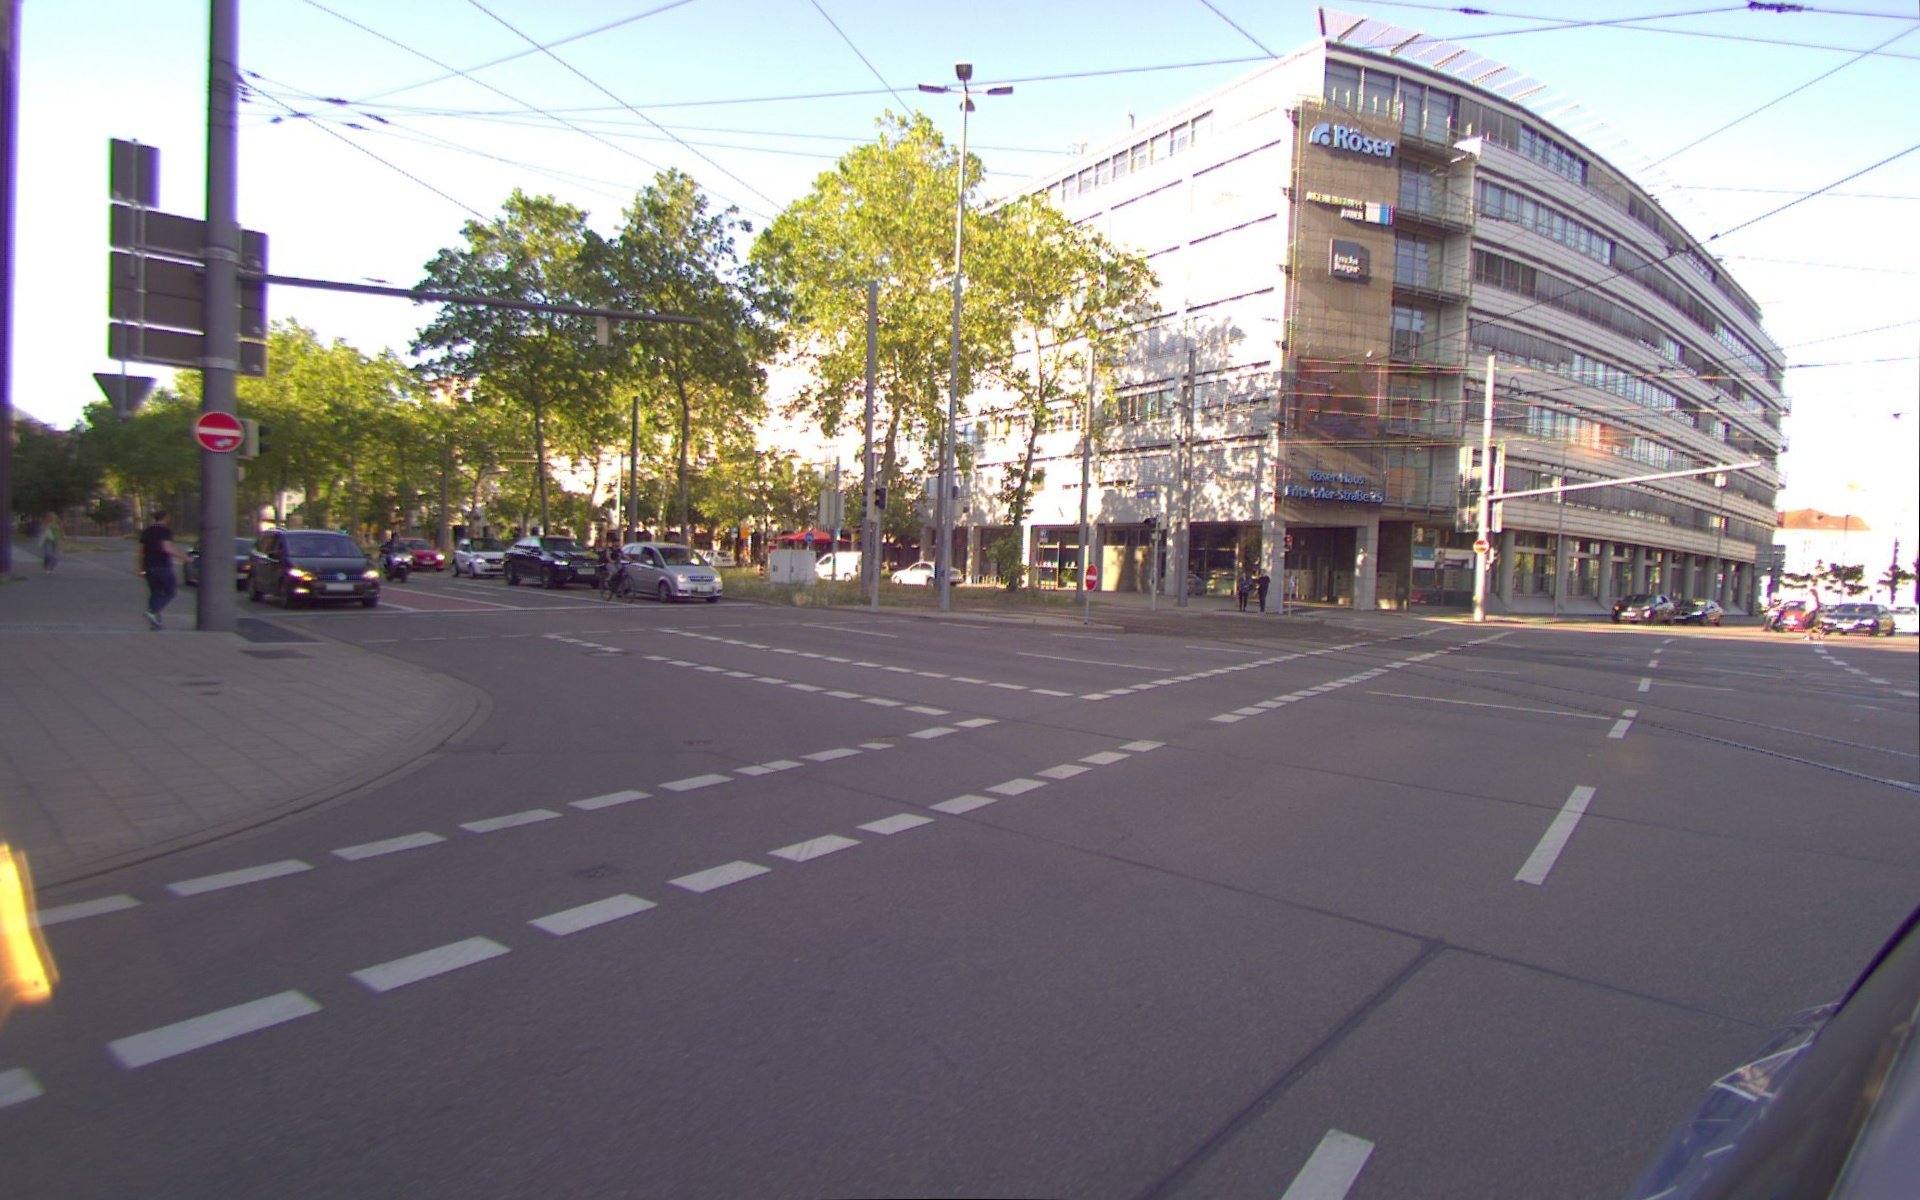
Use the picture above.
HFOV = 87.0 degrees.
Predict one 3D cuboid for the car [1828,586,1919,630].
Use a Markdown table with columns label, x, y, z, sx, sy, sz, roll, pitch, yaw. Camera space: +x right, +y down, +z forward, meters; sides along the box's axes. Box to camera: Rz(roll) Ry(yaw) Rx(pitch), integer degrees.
| label | x | y | z | sx | sy | sz | roll | pitch | yaw |
| --- | --- | --- | --- | --- | --- | --- | --- | --- | --- |
| car | 38.679 | 0.366 | 42.695 | 4.435 | 1.641 | 1.906 | 2 | 2 | -33 |

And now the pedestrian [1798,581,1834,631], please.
| label | x | y | z | sx | sy | sz | roll | pitch | yaw |
| --- | --- | --- | --- | --- | --- | --- | --- | --- | --- |
| pedestrian | 30.276 | 0.189 | 35.794 | 0.842 | 1.708 | 0.639 | 4 | 3 | 38 |

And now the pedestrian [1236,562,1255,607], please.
| label | x | y | z | sx | sy | sz | roll | pitch | yaw |
| --- | --- | --- | --- | --- | --- | --- | --- | --- | --- |
| pedestrian | 11.959 | -0.658 | 42.416 | 0.584 | 1.846 | 0.539 | 3 | 2 | 29 |

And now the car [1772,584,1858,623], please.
| label | x | y | z | sx | sy | sz | roll | pitch | yaw |
| --- | --- | --- | --- | --- | --- | --- | --- | --- | --- |
| car | 40.056 | 0.178 | 47.395 | 4.090 | 1.641 | 1.906 | 2 | 2 | -33 |

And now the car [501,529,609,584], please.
| label | x | y | z | sx | sy | sz | roll | pitch | yaw |
| --- | --- | --- | --- | --- | --- | --- | --- | --- | --- |
| car | -13.565 | -1.479 | 33.776 | 1.829 | 1.671 | 4.315 | 0 | 3 | -45 |

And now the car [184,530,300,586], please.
| label | x | y | z | sx | sy | sz | roll | pitch | yaw |
| --- | --- | --- | --- | --- | --- | --- | --- | --- | --- |
| car | -20.020 | -1.193 | 28.167 | 3.988 | 1.393 | 1.892 | 4 | 3 | 43 |

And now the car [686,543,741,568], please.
| label | x | y | z | sx | sy | sz | roll | pitch | yaw |
| --- | --- | --- | --- | --- | --- | --- | --- | --- | --- |
| car | -17.276 | -3.136 | 70.843 | 1.829 | 1.571 | 4.317 | 0 | 3 | -43 |

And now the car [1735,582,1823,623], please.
| label | x | y | z | sx | sy | sz | roll | pitch | yaw |
| --- | --- | --- | --- | --- | --- | --- | --- | --- | --- |
| car | 36.635 | 0.126 | 45.239 | 3.790 | 1.641 | 1.906 | 2 | 2 | -33 |

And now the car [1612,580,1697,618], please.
| label | x | y | z | sx | sy | sz | roll | pitch | yaw |
| --- | --- | --- | --- | --- | --- | --- | --- | --- | --- |
| car | 33.699 | -0.056 | 49.069 | 4.090 | 1.641 | 1.906 | 2 | 2 | -33 |

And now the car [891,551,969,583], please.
| label | x | y | z | sx | sy | sz | roll | pitch | yaw |
| --- | --- | --- | --- | --- | --- | --- | --- | --- | --- |
| car | -1.700 | -1.813 | 55.372 | 1.829 | 1.571 | 4.317 | 0 | 3 | -43 |

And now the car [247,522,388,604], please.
| label | x | y | z | sx | sy | sz | roll | pitch | yaw |
| --- | --- | --- | --- | --- | --- | --- | --- | --- | --- |
| car | -14.571 | -0.889 | 22.845 | 1.810 | 1.674 | 4.490 | -1 | 4 | -45 |

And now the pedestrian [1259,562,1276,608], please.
| label | x | y | z | sx | sy | sz | roll | pitch | yaw |
| --- | --- | --- | --- | --- | --- | --- | --- | --- | --- |
| pedestrian | 12.747 | -0.628 | 42.006 | 0.542 | 1.846 | 0.370 | 3 | 2 | 29 |

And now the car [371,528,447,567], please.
| label | x | y | z | sx | sy | sz | roll | pitch | yaw |
| --- | --- | --- | --- | --- | --- | --- | --- | --- | --- |
| car | -24.326 | -2.319 | 44.589 | 1.829 | 1.571 | 4.315 | 0 | 3 | -45 |

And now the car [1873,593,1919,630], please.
| label | x | y | z | sx | sy | sz | roll | pitch | yaw |
| --- | --- | --- | --- | --- | --- | --- | --- | --- | --- |
| car | 45.649 | 0.600 | 48.380 | 4.090 | 1.641 | 1.906 | 2 | 2 | -33 |

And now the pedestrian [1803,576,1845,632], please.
| label | x | y | z | sx | sy | sz | roll | pitch | yaw |
| --- | --- | --- | --- | --- | --- | --- | --- | --- | --- |
| pedestrian | 29.976 | 0.135 | 35.112 | 0.961 | 1.865 | 0.690 | 3 | 2 | 37 |

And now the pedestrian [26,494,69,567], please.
| label | x | y | z | sx | sy | sz | roll | pitch | yaw |
| --- | --- | --- | --- | --- | --- | --- | --- | --- | --- |
| pedestrian | -26.246 | -1.978 | 29.126 | 0.884 | 2.038 | 0.757 | 1 | 2 | -43 |

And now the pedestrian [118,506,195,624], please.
| label | x | y | z | sx | sy | sz | roll | pitch | yaw |
| --- | --- | --- | --- | --- | --- | --- | --- | --- | --- |
| pedestrian | -12.130 | -0.523 | 15.300 | 0.808 | 1.737 | 0.665 | 1 | 2 | -30 |

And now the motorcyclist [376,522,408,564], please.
| label | x | y | z | sx | sy | sz | roll | pitch | yaw |
| --- | --- | --- | --- | --- | --- | --- | --- | --- | --- |
| motorcyclist | -19.263 | -1.940 | 34.327 | 0.806 | 1.370 | 0.748 | 2 | 2 | -38 |

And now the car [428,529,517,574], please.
| label | x | y | z | sx | sy | sz | roll | pitch | yaw |
| --- | --- | --- | --- | --- | --- | --- | --- | --- | --- |
| car | -19.102 | -1.913 | 39.561 | 1.829 | 1.571 | 4.315 | 0 | 3 | -45 |

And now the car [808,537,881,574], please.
| label | x | y | z | sx | sy | sz | roll | pitch | yaw |
| --- | --- | --- | --- | --- | --- | --- | --- | --- | --- |
| car | -6.868 | -2.645 | 59.989 | 4.372 | 2.038 | 1.969 | 4 | 3 | 44 |

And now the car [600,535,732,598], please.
| label | x | y | z | sx | sy | sz | roll | pitch | yaw |
| --- | --- | --- | --- | --- | --- | --- | --- | --- | --- |
| car | -8.375 | -0.981 | 28.608 | 1.707 | 1.616 | 4.315 | 0 | 3 | -45 |
